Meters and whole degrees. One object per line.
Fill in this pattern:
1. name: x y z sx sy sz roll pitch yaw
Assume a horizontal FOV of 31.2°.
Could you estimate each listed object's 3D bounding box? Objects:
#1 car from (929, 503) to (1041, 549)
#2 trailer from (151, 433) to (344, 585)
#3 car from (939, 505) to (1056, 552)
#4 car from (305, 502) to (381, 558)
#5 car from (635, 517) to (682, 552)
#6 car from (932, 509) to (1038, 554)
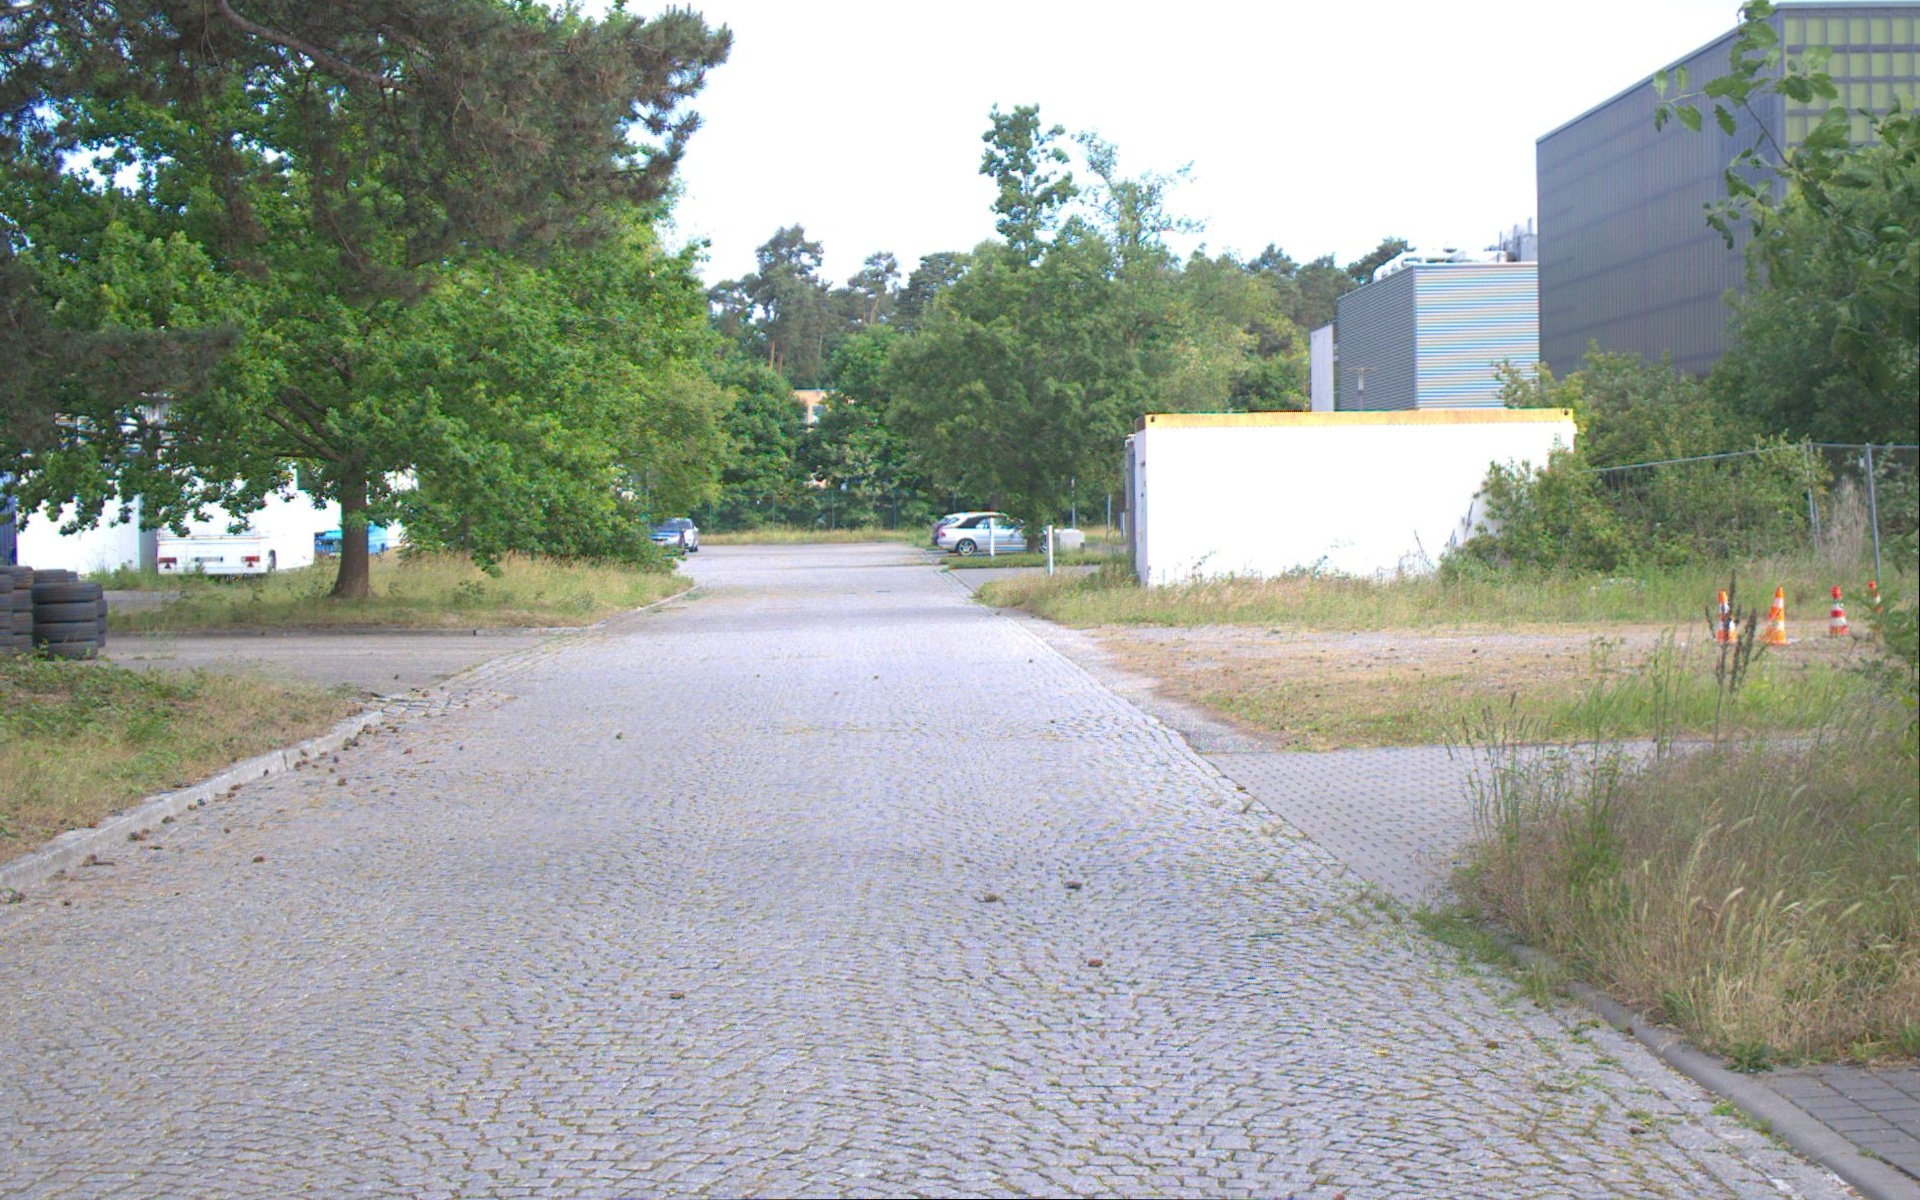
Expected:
1. car: 0.916 -2.708 125.600 3.984 1.470 1.653 -3 1 -1
2. trailer: -17.915 -2.306 87.148 2.625 3.585 10.178 -1 1 1
3. car: 1.310 -2.523 120.477 3.984 1.443 1.653 -3 1 -1
4. car: -22.742 -2.592 126.811 1.993 2.007 4.768 -1 1 -1
5. car: -12.184 -2.646 139.068 1.647 1.364 3.998 -1 1 -2
6. car: 0.851 -2.341 117.776 3.522 1.357 1.623 -3 1 -1
